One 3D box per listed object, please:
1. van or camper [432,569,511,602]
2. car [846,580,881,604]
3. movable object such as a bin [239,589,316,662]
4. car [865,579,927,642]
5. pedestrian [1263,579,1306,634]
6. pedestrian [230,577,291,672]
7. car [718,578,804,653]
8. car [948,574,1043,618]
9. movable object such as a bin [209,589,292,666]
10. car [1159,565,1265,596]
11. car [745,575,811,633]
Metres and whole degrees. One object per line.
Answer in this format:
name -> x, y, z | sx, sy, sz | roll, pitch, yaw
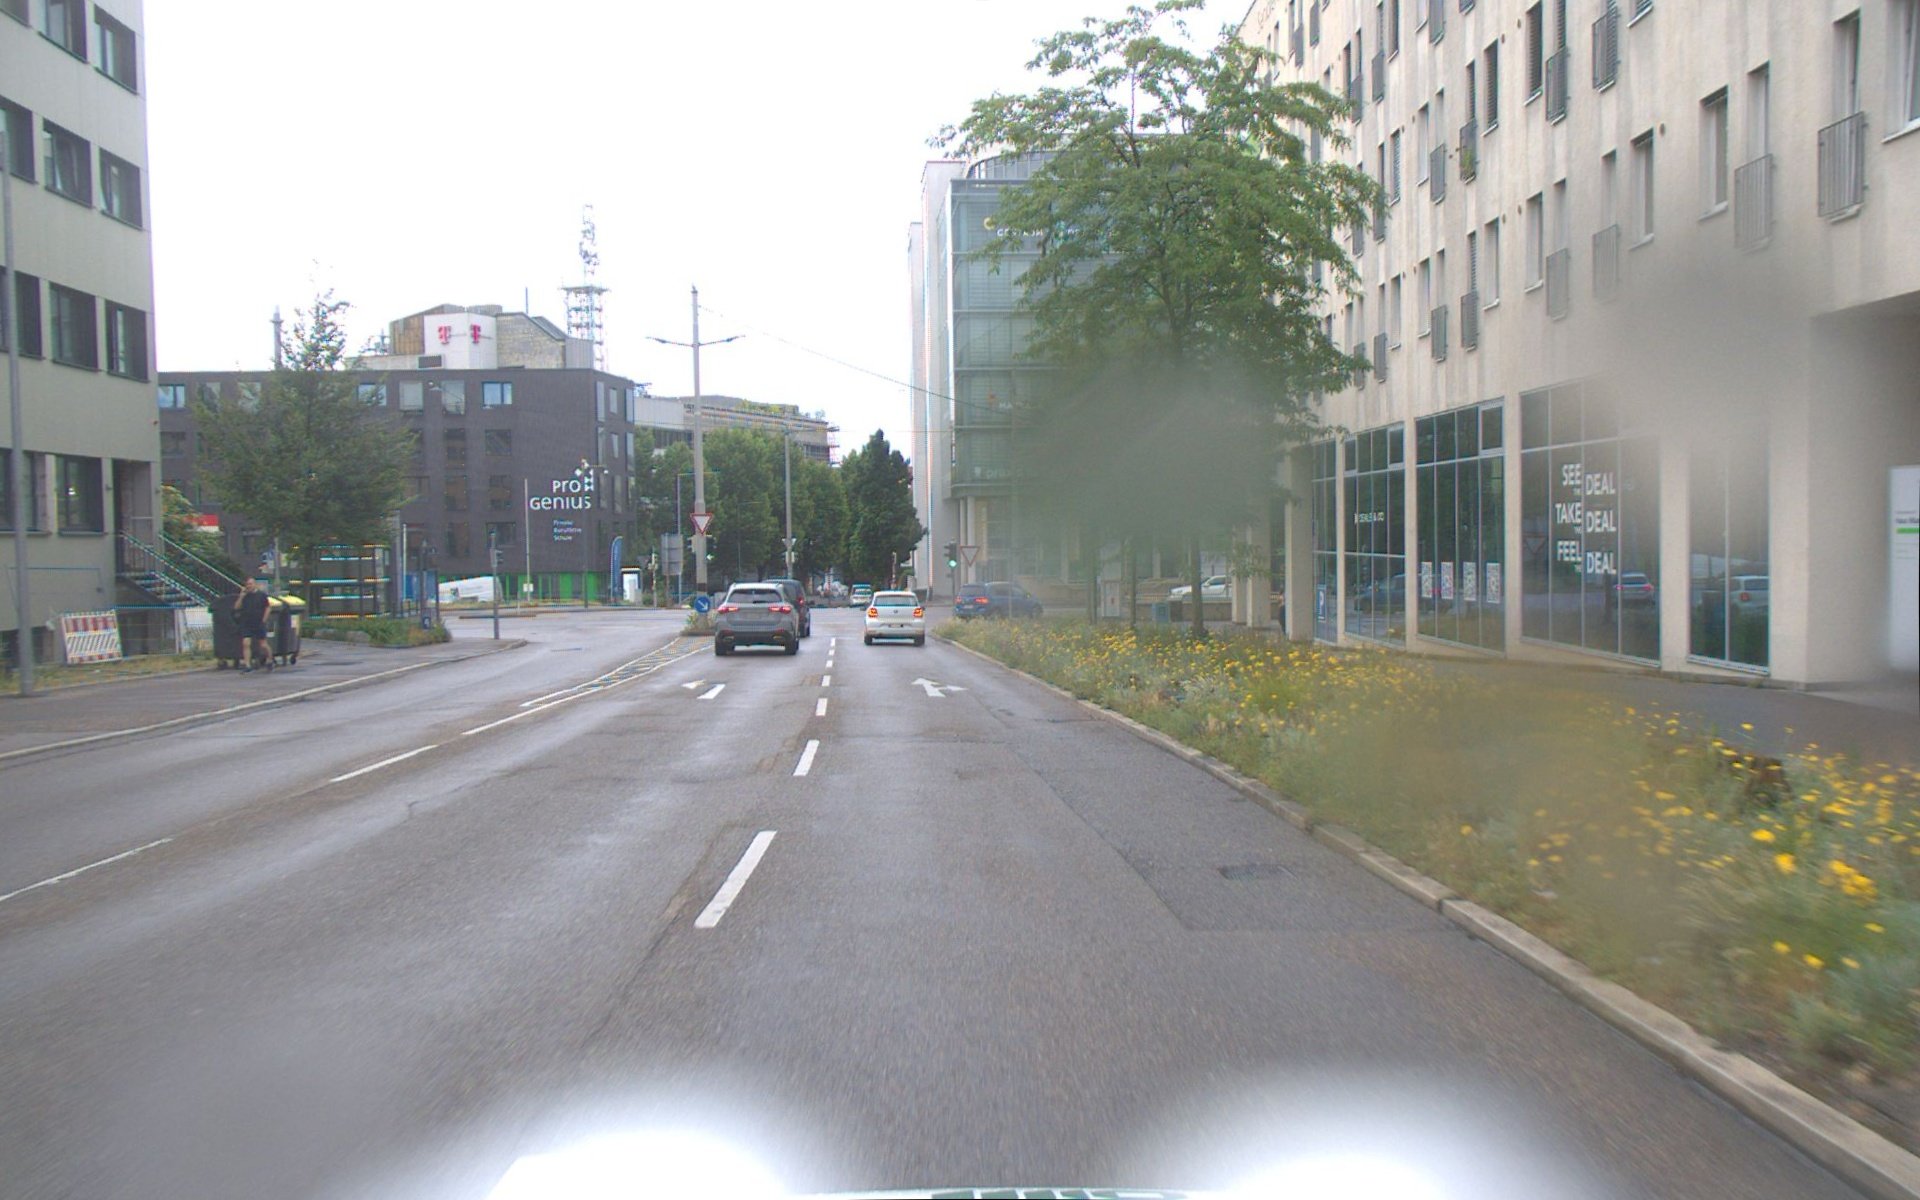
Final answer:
van or camper -> -36.827, -1.103, 124.744 | 5.226, 2.410, 2.736 | 1, 0, -5
car -> -7.314, -0.610, 125.476 | 1.960, 1.747, 3.986 | 1, 0, -14
movable object such as a bin -> -14.170, 0.514, 34.383 | 1.033, 1.470, 1.357 | 1, 0, -2
car -> -1.819, 0.259, 46.459 | 1.638, 1.499, 3.778 | -1, 3, -3
pedestrian -> 10.438, 0.194, 53.237 | 1.075, 1.742, 0.865 | -1, 2, -35
pedestrian -> -13.229, 0.449, 31.295 | 0.740, 1.762, 0.942 | 1, 0, -1
car -> -4.650, 0.330, 39.109 | 1.871, 1.660, 4.206 | 0, 0, -5
car -> 1.486, -0.201, 68.117 | 1.961, 1.601, 3.984 | 1, 3, 37
movable object such as a bin -> -14.118, 0.534, 32.957 | 1.033, 1.470, 1.430 | 1, 0, -2
car -> 12.354, -0.973, 81.253 | 4.851, 1.411, 1.821 | -1, 2, -6
car -> -6.016, 0.120, 54.320 | 1.819, 1.799, 4.120 | -1, 1, -11
